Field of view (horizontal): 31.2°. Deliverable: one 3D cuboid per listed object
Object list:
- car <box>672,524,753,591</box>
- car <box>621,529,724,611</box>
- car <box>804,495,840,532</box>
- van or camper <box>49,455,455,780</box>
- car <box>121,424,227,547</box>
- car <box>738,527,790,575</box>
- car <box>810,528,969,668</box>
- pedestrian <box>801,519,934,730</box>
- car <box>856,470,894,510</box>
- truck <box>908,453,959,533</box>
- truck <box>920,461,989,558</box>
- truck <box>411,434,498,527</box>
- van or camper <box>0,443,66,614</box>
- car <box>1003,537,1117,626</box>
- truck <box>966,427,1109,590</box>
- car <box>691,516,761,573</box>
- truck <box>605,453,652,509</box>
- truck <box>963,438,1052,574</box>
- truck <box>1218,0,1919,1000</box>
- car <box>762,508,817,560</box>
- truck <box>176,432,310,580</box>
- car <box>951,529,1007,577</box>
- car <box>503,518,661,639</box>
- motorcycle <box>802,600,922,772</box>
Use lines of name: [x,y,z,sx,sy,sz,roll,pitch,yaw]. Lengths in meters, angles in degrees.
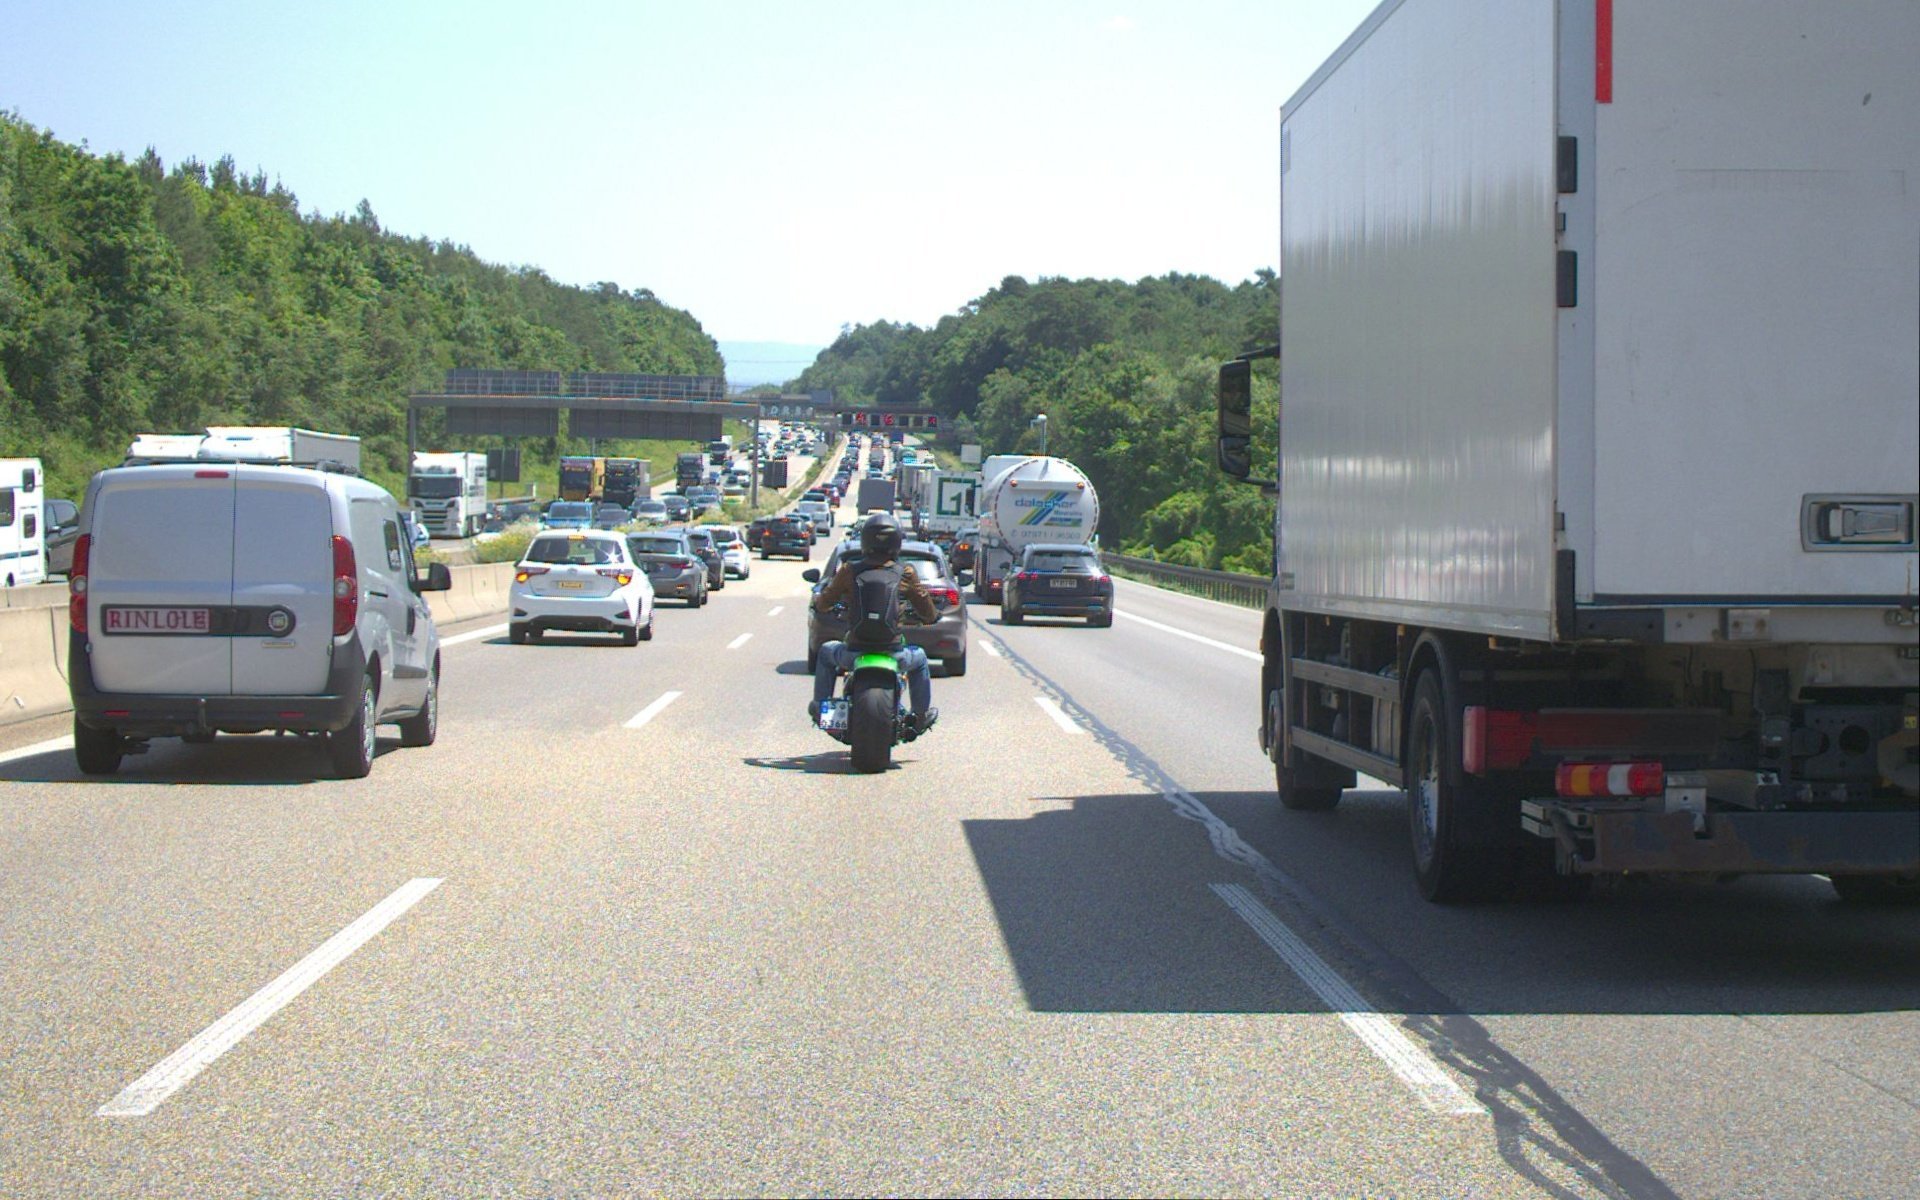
car: [-5.912,-1.040,82.516,1.699,1.473,4.001,2,1,-1]
car: [-5.546,-0.608,66.605,1.699,1.473,4.001,2,1,-1]
car: [-7.770,-4.858,194.169,1.929,2.007,4.000,0,1,-1]
van or camper: [-4.434,0.079,22.132,1.796,1.886,4.160,0,1,-1]
car: [-25.202,-3.656,110.362,2.449,3.860,4.566,0,1,-2]
car: [-8.244,-2.055,144.777,1.993,2.007,4.000,0,1,-1]
car: [-0.755,-0.061,38.993,1.533,1.504,4.000,0,1,3]
pedestrian: [-0.599,0.149,22.589,0.849,1.357,0.961,0,1,0]
car: [-5.754,-7.446,232.758,2.504,2.578,5.017,2,1,-1]
truck: [-1.830,-7.152,230.569,3.033,5.121,9.984,3,1,-1]
truck: [-0.322,-4.497,170.279,3.033,4.526,9.984,3,1,-1]
truck: [-23.497,-5.509,160.071,2.803,4.151,7.600,0,1,1]
van or camper: [-16.539,-1.179,56.090,2.230,2.751,6.837,0,1,-1]
car: [1.790,-0.365,62.625,1.828,1.465,4.001,3,1,-1]
truck: [1.750,-2.106,81.890,2.988,3.659,9.288,0,1,-1]
car: [-6.457,-1.542,95.132,1.699,1.473,4.001,2,1,-1]
truck: [-24.374,-8.721,253.133,2.906,3.960,7.770,0,1,-1]
truck: [1.223,-2.452,90.865,1.993,3.510,4.752,0,1,-4]
truck: [3.115,-0.731,16.199,2.688,3.863,9.781,-1,1,-2]
car: [-6.434,-2.498,129.969,1.880,1.853,4.000,2,1,-1]
truck: [-21.156,-2.764,101.690,2.840,4.199,5.660,1,1,-1]
car: [0.641,-1.637,118.073,1.787,1.550,3.804,2,1,-1]
car: [-4.996,-0.317,45.834,1.699,1.473,4.001,2,1,-1]
motorcycle: [-0.627,0.543,22.704,0.691,1.012,2.121,2,1,0]
